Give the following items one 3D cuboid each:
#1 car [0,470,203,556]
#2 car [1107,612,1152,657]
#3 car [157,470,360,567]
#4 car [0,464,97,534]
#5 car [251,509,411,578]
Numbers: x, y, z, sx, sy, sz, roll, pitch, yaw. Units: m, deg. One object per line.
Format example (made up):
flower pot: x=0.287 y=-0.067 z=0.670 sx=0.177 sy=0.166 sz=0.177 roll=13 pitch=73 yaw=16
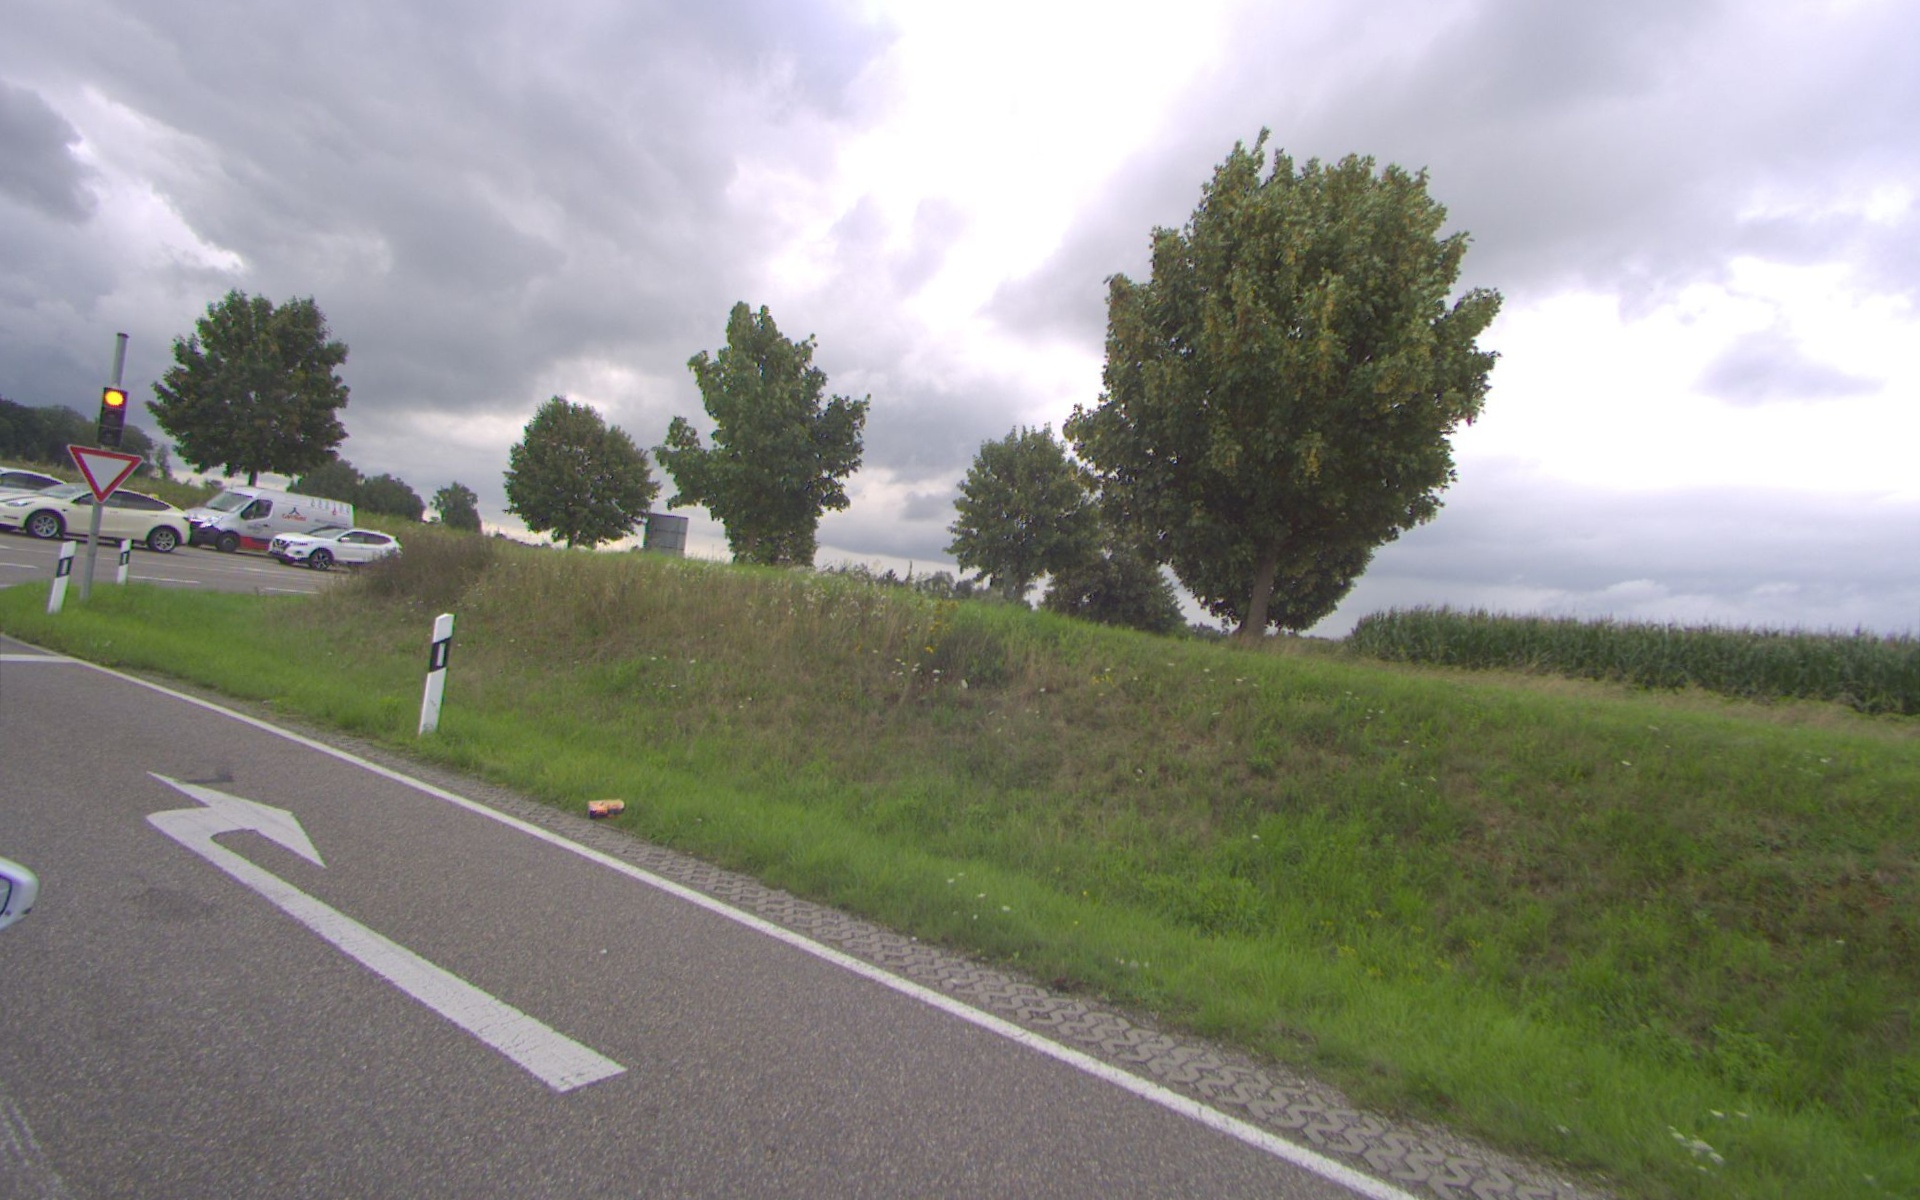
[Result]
car: x=-24.151 y=-2.400 z=27.787 sx=1.963 sy=1.582 sz=4.752 roll=8 pitch=-2 yaw=20
car: x=8.979 y=1.855 z=52.966 sx=1.962 sy=2.037 sz=4.005 roll=7 pitch=-2 yaw=12
car: x=-25.361 y=-2.859 z=36.694 sx=2.354 sy=2.470 sz=5.517 roll=8 pitch=-2 yaw=20
car: x=-27.837 y=-3.106 z=28.740 sx=1.963 sy=1.647 sz=4.278 roll=8 pitch=-2 yaw=19
car: x=-21.802 y=-1.930 z=35.089 sx=1.963 sy=1.648 sz=4.326 roll=8 pitch=-2 yaw=20
